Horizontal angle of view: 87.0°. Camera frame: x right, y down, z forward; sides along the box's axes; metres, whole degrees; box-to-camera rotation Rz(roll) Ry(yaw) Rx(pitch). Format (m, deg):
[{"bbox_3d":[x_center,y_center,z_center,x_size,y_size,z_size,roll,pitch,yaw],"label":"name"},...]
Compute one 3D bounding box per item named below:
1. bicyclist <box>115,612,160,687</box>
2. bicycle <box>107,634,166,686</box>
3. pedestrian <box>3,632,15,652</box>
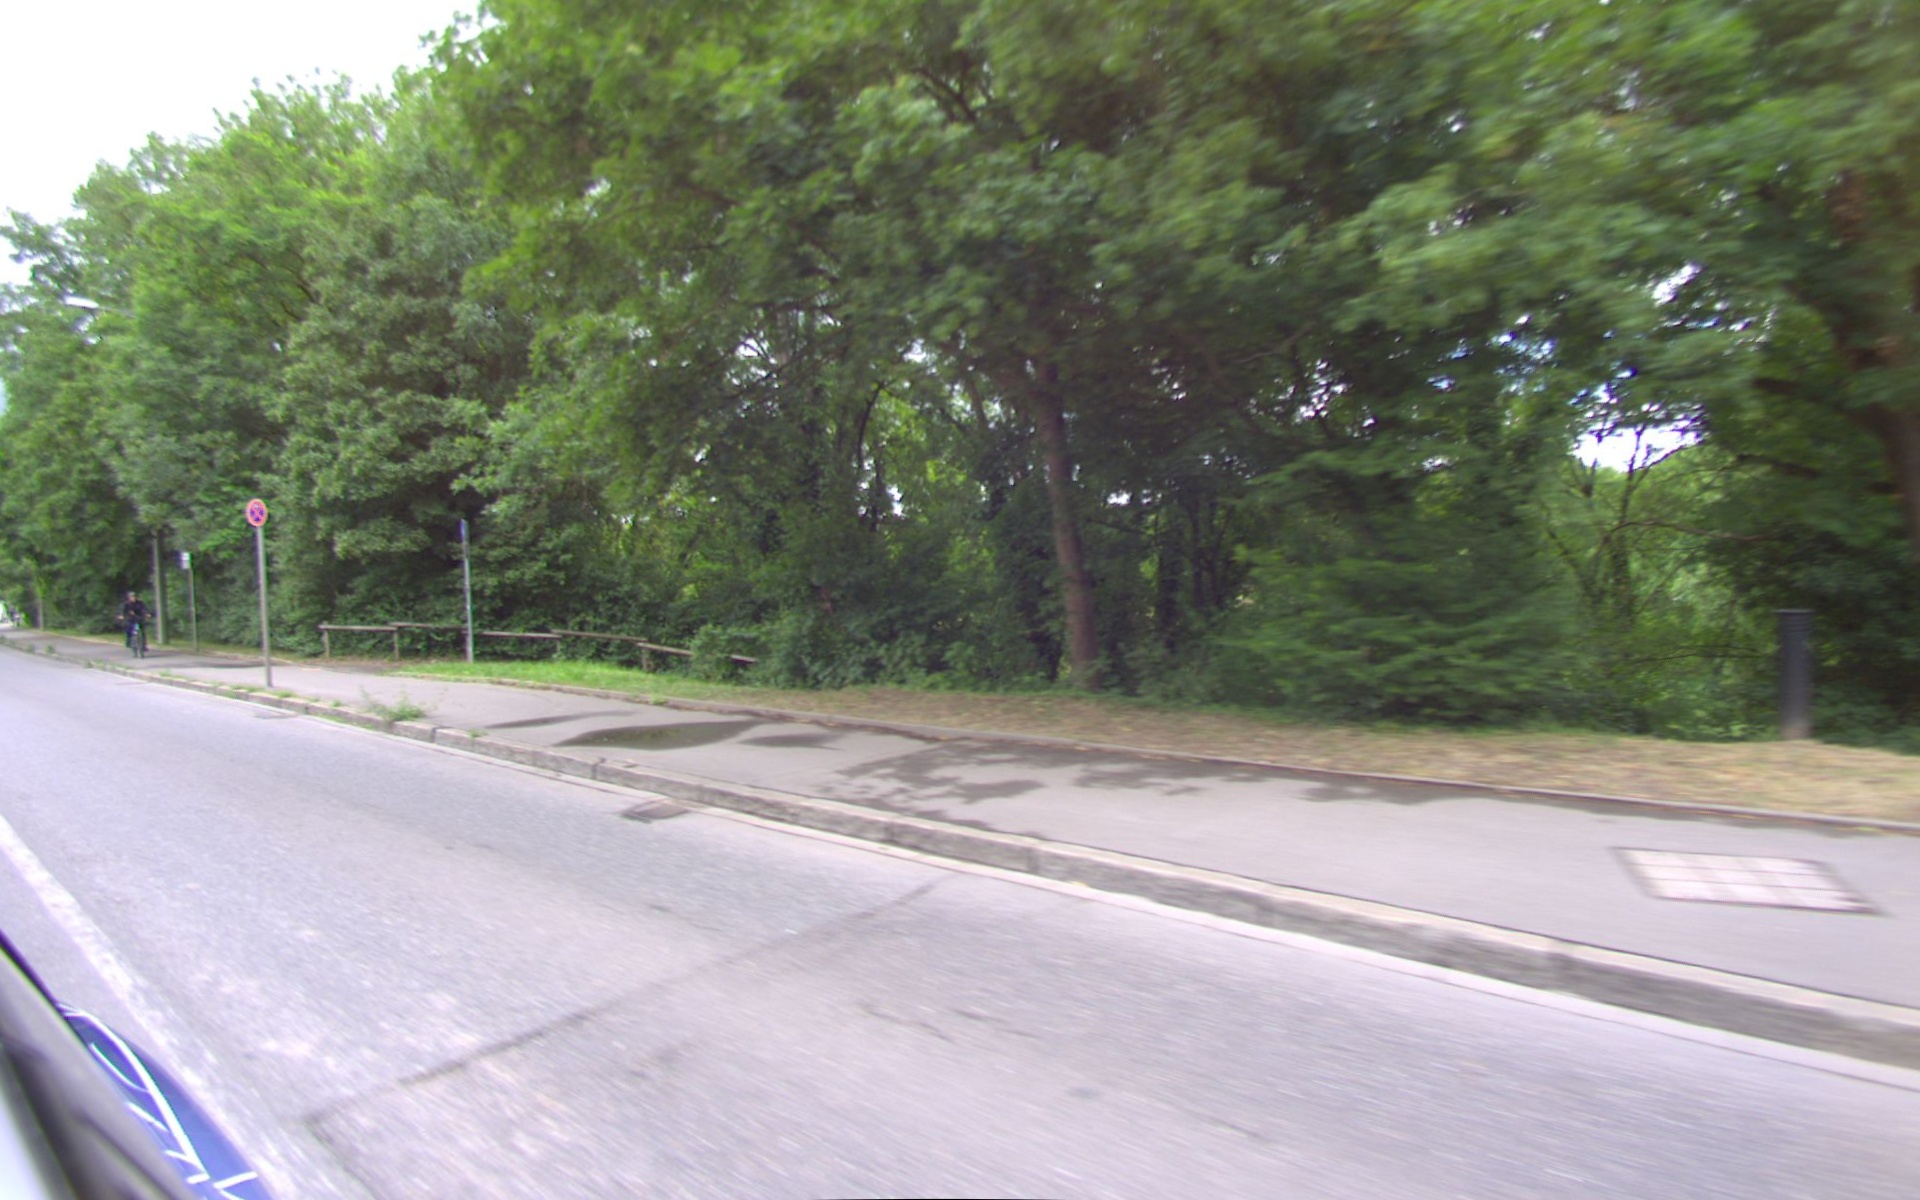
[{"bbox_3d":[-22.638,1.352,27.849,0.834,1.962,0.680,-2,2,38],"label":"bicyclist"},{"bbox_3d":[-22.785,1.631,27.984,2.277,1.341,0.692,-2,2,38],"label":"bicycle"},{"bbox_3d":[-82.431,3.643,87.707,0.815,1.727,0.593,-3,2,44],"label":"pedestrian"}]
